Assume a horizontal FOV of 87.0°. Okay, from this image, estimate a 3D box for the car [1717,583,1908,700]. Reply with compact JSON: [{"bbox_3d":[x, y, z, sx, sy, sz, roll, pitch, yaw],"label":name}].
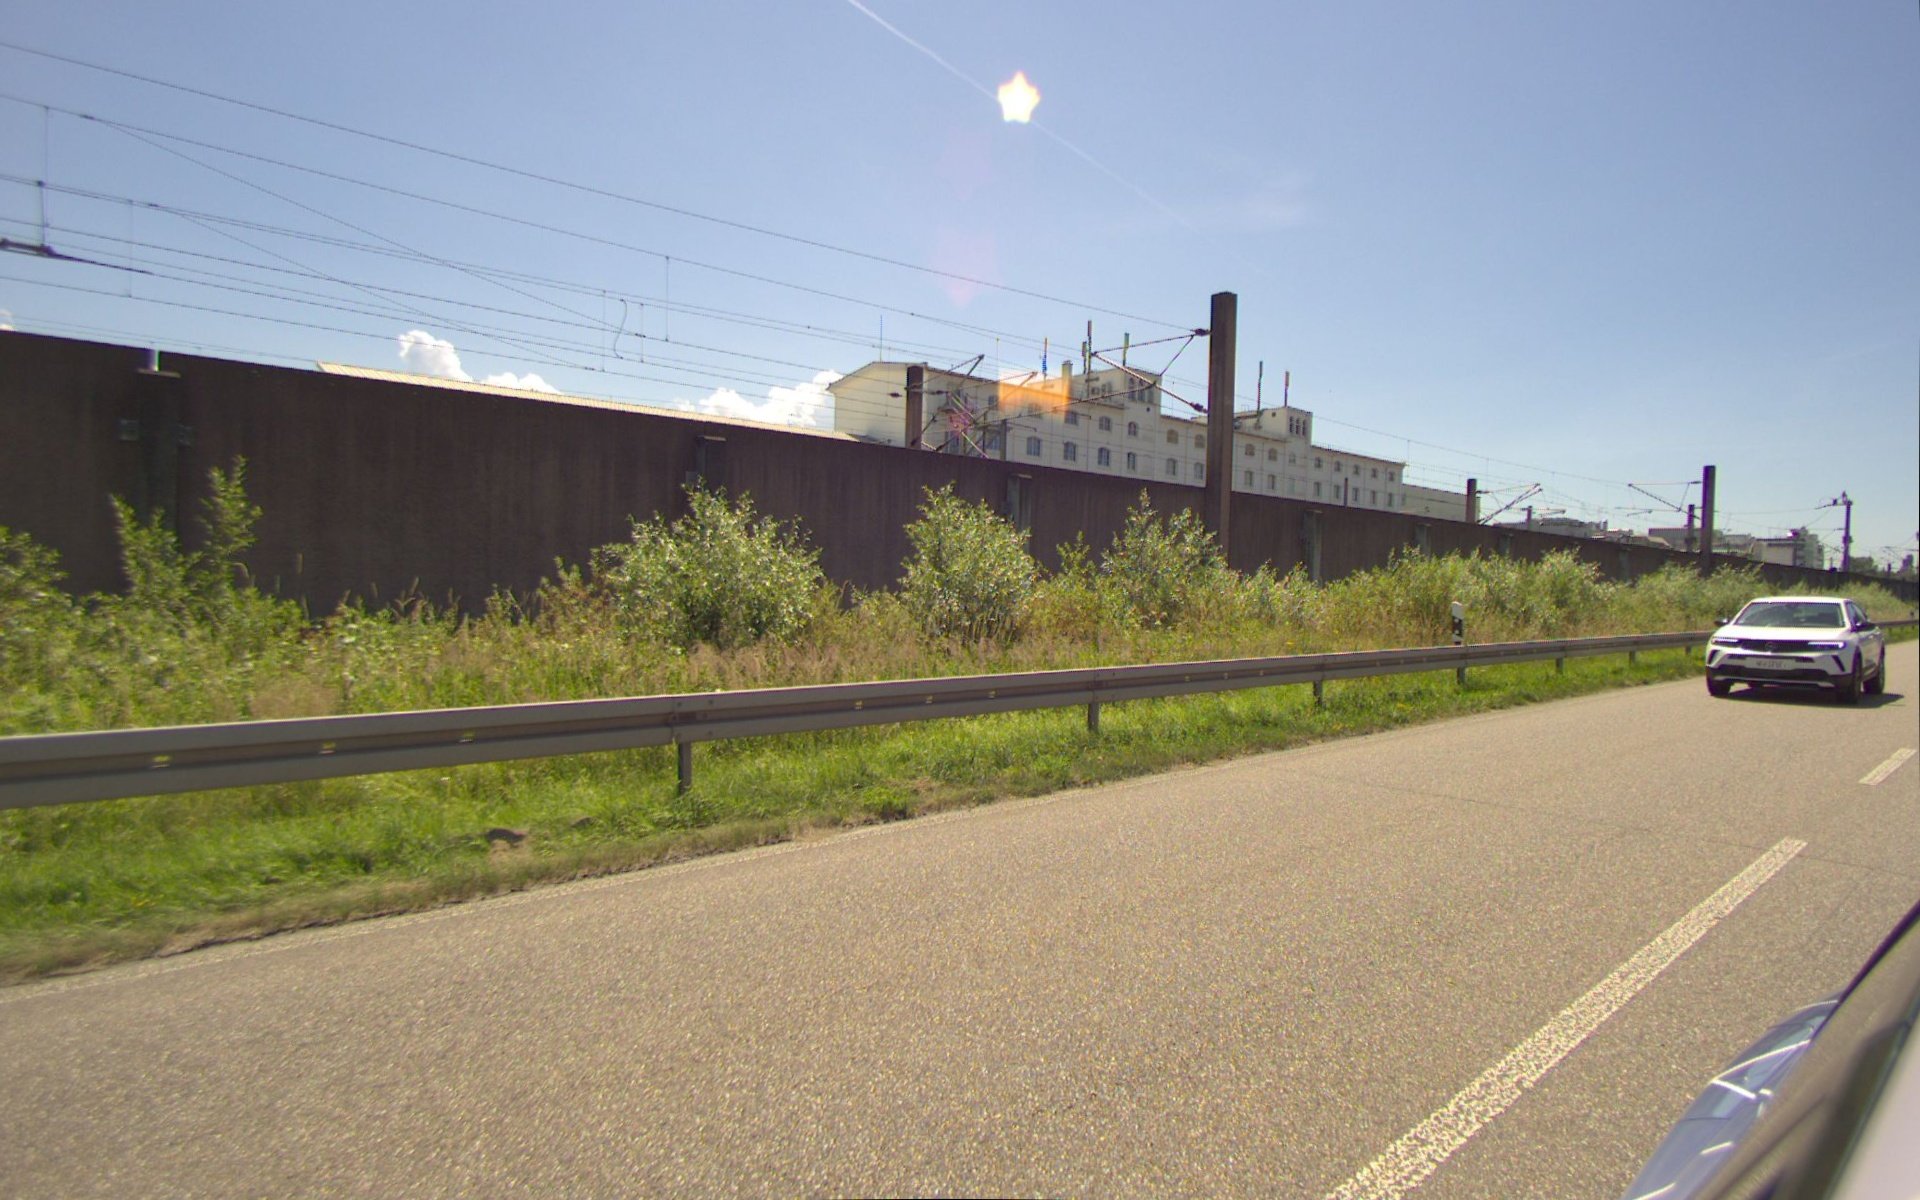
[{"bbox_3d":[13.419,0.555,15.846,4.206,1.583,1.820,0,1,-43],"label":"car"}]
